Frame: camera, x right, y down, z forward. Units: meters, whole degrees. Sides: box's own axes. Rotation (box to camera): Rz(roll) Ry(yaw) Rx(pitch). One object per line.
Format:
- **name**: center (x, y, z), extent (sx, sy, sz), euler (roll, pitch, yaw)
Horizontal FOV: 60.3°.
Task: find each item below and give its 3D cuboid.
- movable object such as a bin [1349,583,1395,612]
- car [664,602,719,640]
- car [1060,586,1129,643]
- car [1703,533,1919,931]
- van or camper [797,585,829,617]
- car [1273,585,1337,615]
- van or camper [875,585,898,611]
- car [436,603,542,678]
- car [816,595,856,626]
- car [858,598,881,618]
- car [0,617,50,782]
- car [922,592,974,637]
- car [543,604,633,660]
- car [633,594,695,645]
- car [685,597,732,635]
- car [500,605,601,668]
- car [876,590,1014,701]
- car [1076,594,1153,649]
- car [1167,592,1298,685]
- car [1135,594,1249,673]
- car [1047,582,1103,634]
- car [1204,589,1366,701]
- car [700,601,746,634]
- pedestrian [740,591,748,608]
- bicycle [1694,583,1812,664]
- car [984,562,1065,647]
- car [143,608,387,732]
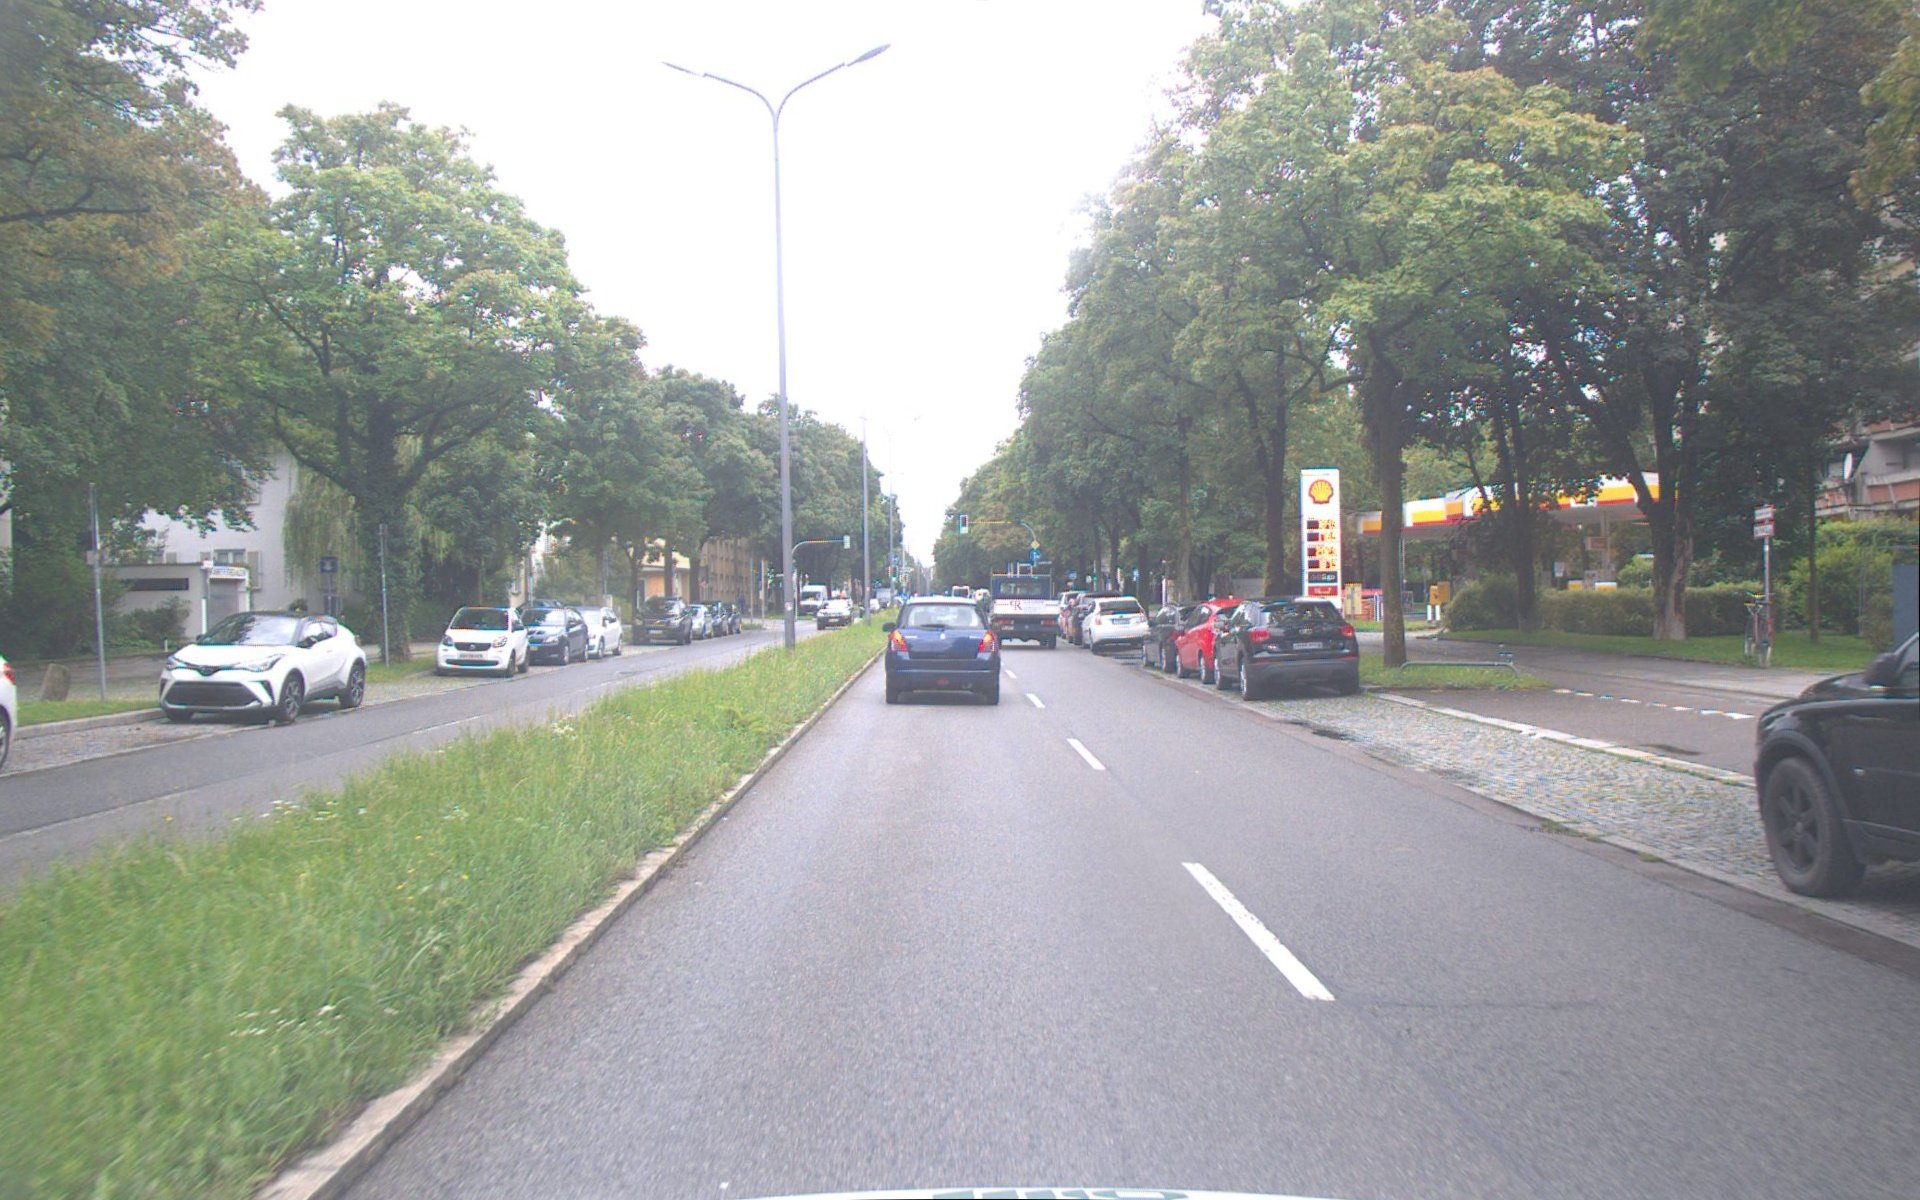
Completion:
- **movable object such as a bin**: center (22.701, -0.124, 91.119), extent (2.019, 1.512, 1.837), euler (-1, 0, -1)
- **car**: center (-11.157, 0.860, 69.033), extent (1.632, 1.470, 4.374), euler (2, 0, -1)
- **car**: center (4.433, 0.436, 55.174), extent (1.725, 1.728, 5.229), euler (-3, 0, -1)
- **car**: center (5.321, 0.580, 7.213), extent (1.854, 1.831, 4.860), euler (-2, 0, -1)
- **van or camper**: center (-12.137, 0.058, 136.943), extent (2.096, 2.519, 6.258), euler (-2, 0, -1)
- **car**: center (22.663, -0.002, 108.829), extent (3.799, 1.638, 1.934), euler (-5, 0, 6)
- **van or camper**: center (-6.941, -0.220, 156.636), extent (1.982, 2.300, 6.020), euler (-2, 0, -2)
- **car**: center (-10.802, 0.907, 38.087), extent (1.657, 1.593, 3.078), euler (2, 0, -3)
- **car**: center (-6.208, 0.496, 83.212), extent (1.703, 1.465, 4.214), euler (-2, 0, -1)
- **car**: center (-7.162, 0.635, 131.175), extent (1.702, 1.467, 4.102), euler (-2, 0, -1)
- **car**: center (-10.361, 0.999, 15.104), extent (1.722, 1.622, 4.488), euler (1, 0, -2)
- **car**: center (-0.420, 0.491, 58.927), extent (1.762, 1.525, 3.660), euler (-1, 0, 0)
- **car**: center (-10.882, 0.902, 48.608), extent (1.640, 1.468, 4.319), euler (2, 0, 0)
- **car**: center (-11.070, 0.694, 62.078), extent (1.761, 1.794, 5.053), euler (2, 0, -5)
- **car**: center (-11.216, 0.682, 74.060), extent (1.633, 1.589, 4.296), euler (-1, 0, -3)
- **car**: center (-10.798, 0.928, 43.856), extent (1.640, 1.501, 4.214), euler (2, 0, -1)
- **car**: center (-0.295, 0.624, 24.787), extent (1.859, 1.525, 3.657), euler (0, 0, -4)
- **car**: center (4.592, 0.599, 49.614), extent (1.725, 1.479, 4.632), euler (-3, 0, -1)
- **car**: center (5.022, 0.660, 30.950), extent (1.641, 1.527, 4.020), euler (-3, 0, -1)
- **car**: center (4.878, 0.655, 35.372), extent (1.641, 1.479, 4.581), euler (-3, 0, -1)
- **car**: center (4.504, 0.298, 65.284), extent (1.725, 1.862, 4.527), euler (-3, 0, -1)
- **car**: center (5.103, 0.649, 26.490), extent (1.743, 1.537, 4.285), euler (-3, 0, 1)
- **car**: center (-11.384, 0.814, 79.612), extent (1.532, 1.475, 3.838), euler (2, 0, 1)
- **pedestrian**: center (-19.178, -0.036, 146.914), extent (0.616, 1.465, 0.806), euler (1, 0, 1)
- **bicycle**: center (12.437, 0.353, 26.018), extent (0.733, 1.203, 2.246), euler (-1, 0, -1)
- **car**: center (1.916, 0.122, 50.738), extent (2.369, 2.487, 5.087), euler (0, 0, 1)
- **car**: center (-10.387, 0.977, 25.120), extent (1.795, 1.637, 4.491), euler (1, 0, 0)
